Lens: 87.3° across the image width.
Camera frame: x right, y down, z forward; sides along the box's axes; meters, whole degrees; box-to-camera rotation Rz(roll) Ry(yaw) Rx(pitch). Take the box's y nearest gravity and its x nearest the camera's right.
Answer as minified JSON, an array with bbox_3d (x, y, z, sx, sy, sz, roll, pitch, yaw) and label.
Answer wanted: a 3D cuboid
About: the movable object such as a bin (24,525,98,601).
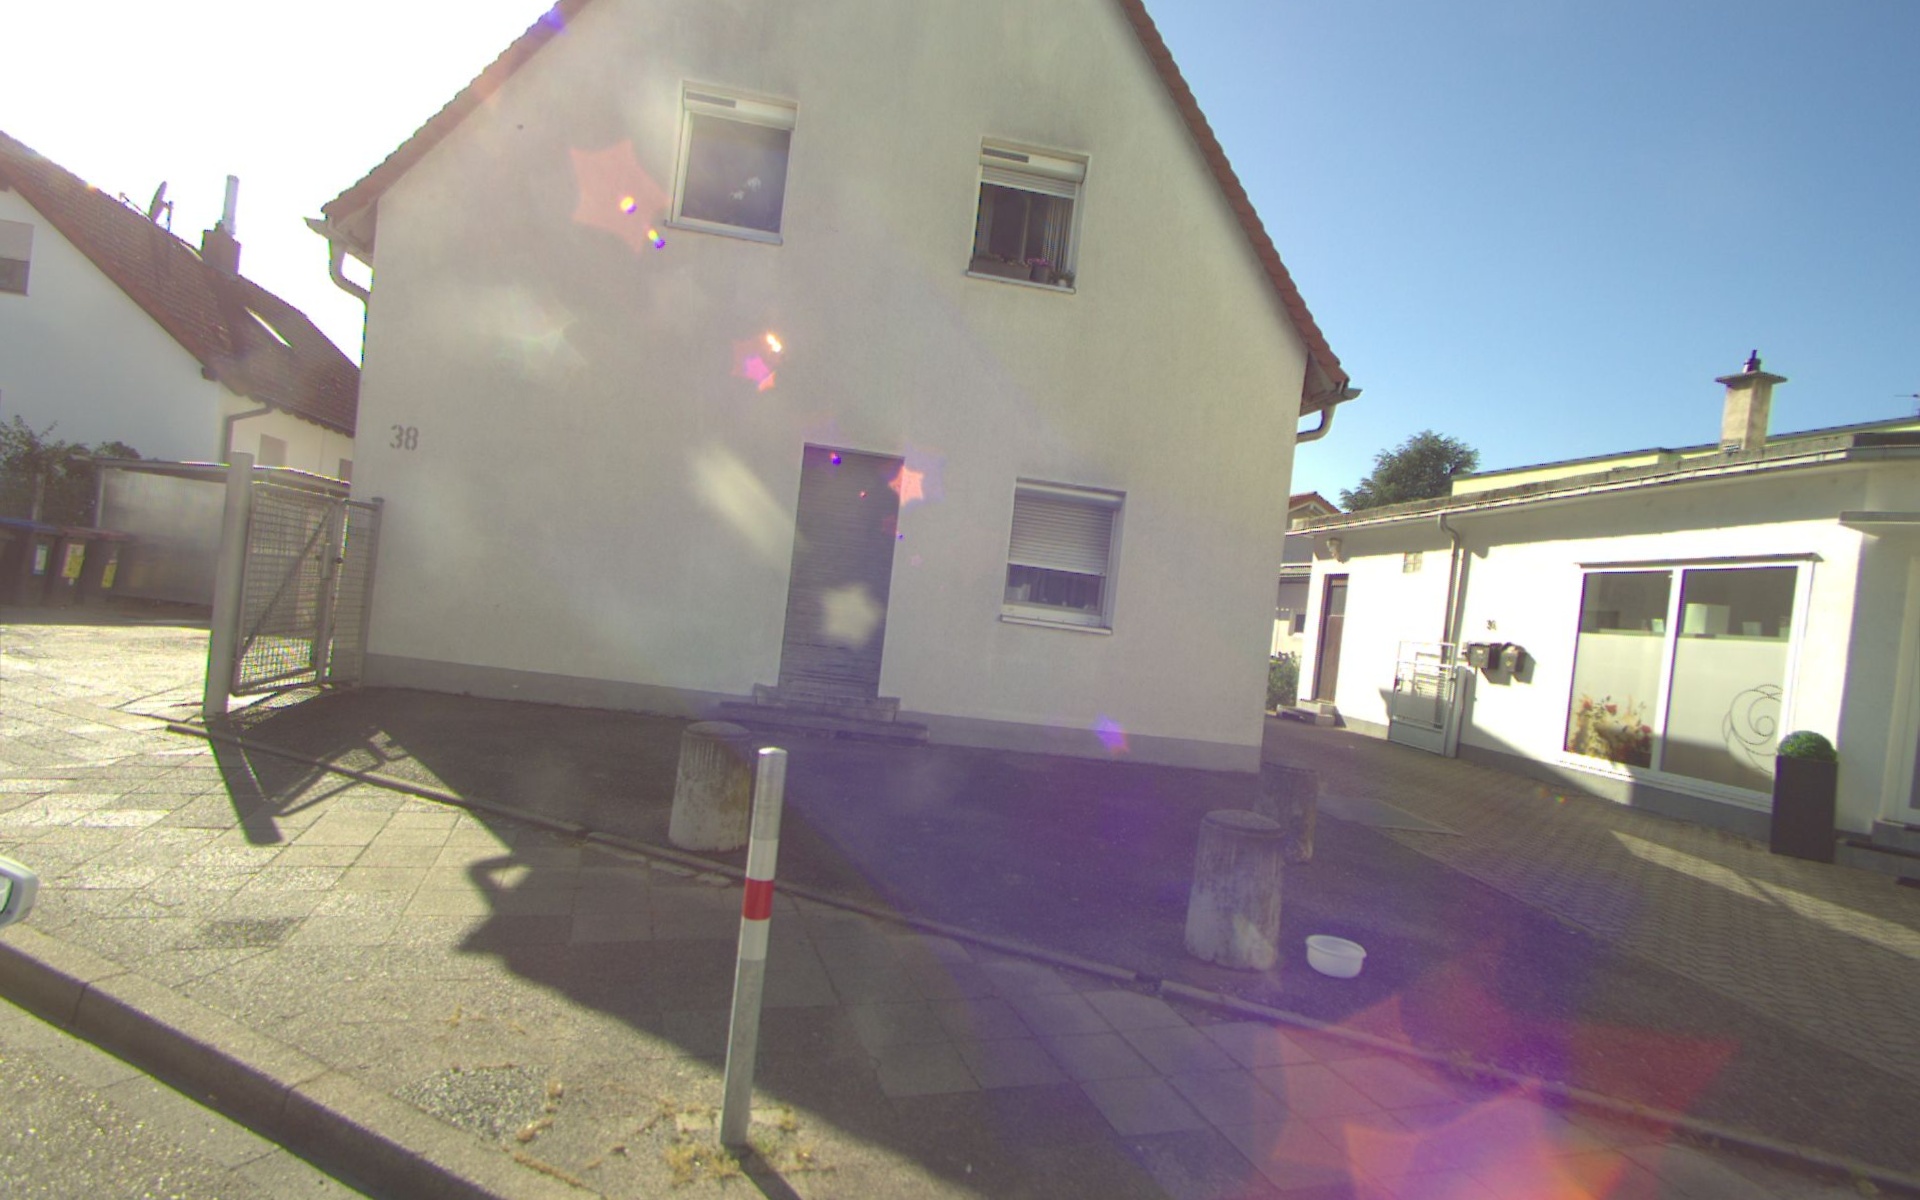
[{"bbox_3d":[-11.907,-0.482,13.341,0.415,0.933,0.516,7,-2,-5],"label":"movable object such as a bin"}]

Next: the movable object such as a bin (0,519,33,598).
[{"bbox_3d":[-11.794,-0.523,12.254,0.415,0.933,0.516,7,-2,-5],"label":"movable object such as a bin"}]

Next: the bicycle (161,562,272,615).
[{"bbox_3d":[-11.741,-0.182,15.907,1.343,0.664,0.370,7,1,-9],"label":"bicycle"}]

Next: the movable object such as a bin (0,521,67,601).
[{"bbox_3d":[-11.844,-0.493,12.797,0.415,0.933,0.516,7,-2,-5],"label":"movable object such as a bin"}]

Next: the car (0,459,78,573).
[{"bbox_3d":[-15.434,-1.383,14.516,1.877,1.709,4.045,7,0,-4],"label":"car"}]

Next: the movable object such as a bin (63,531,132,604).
[{"bbox_3d":[-12.039,-0.447,14.054,0.415,0.933,0.516,7,-2,-5],"label":"movable object such as a bin"}]

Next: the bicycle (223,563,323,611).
[{"bbox_3d":[-11.861,-0.225,17.391,1.343,0.664,0.370,7,1,-9],"label":"bicycle"}]
